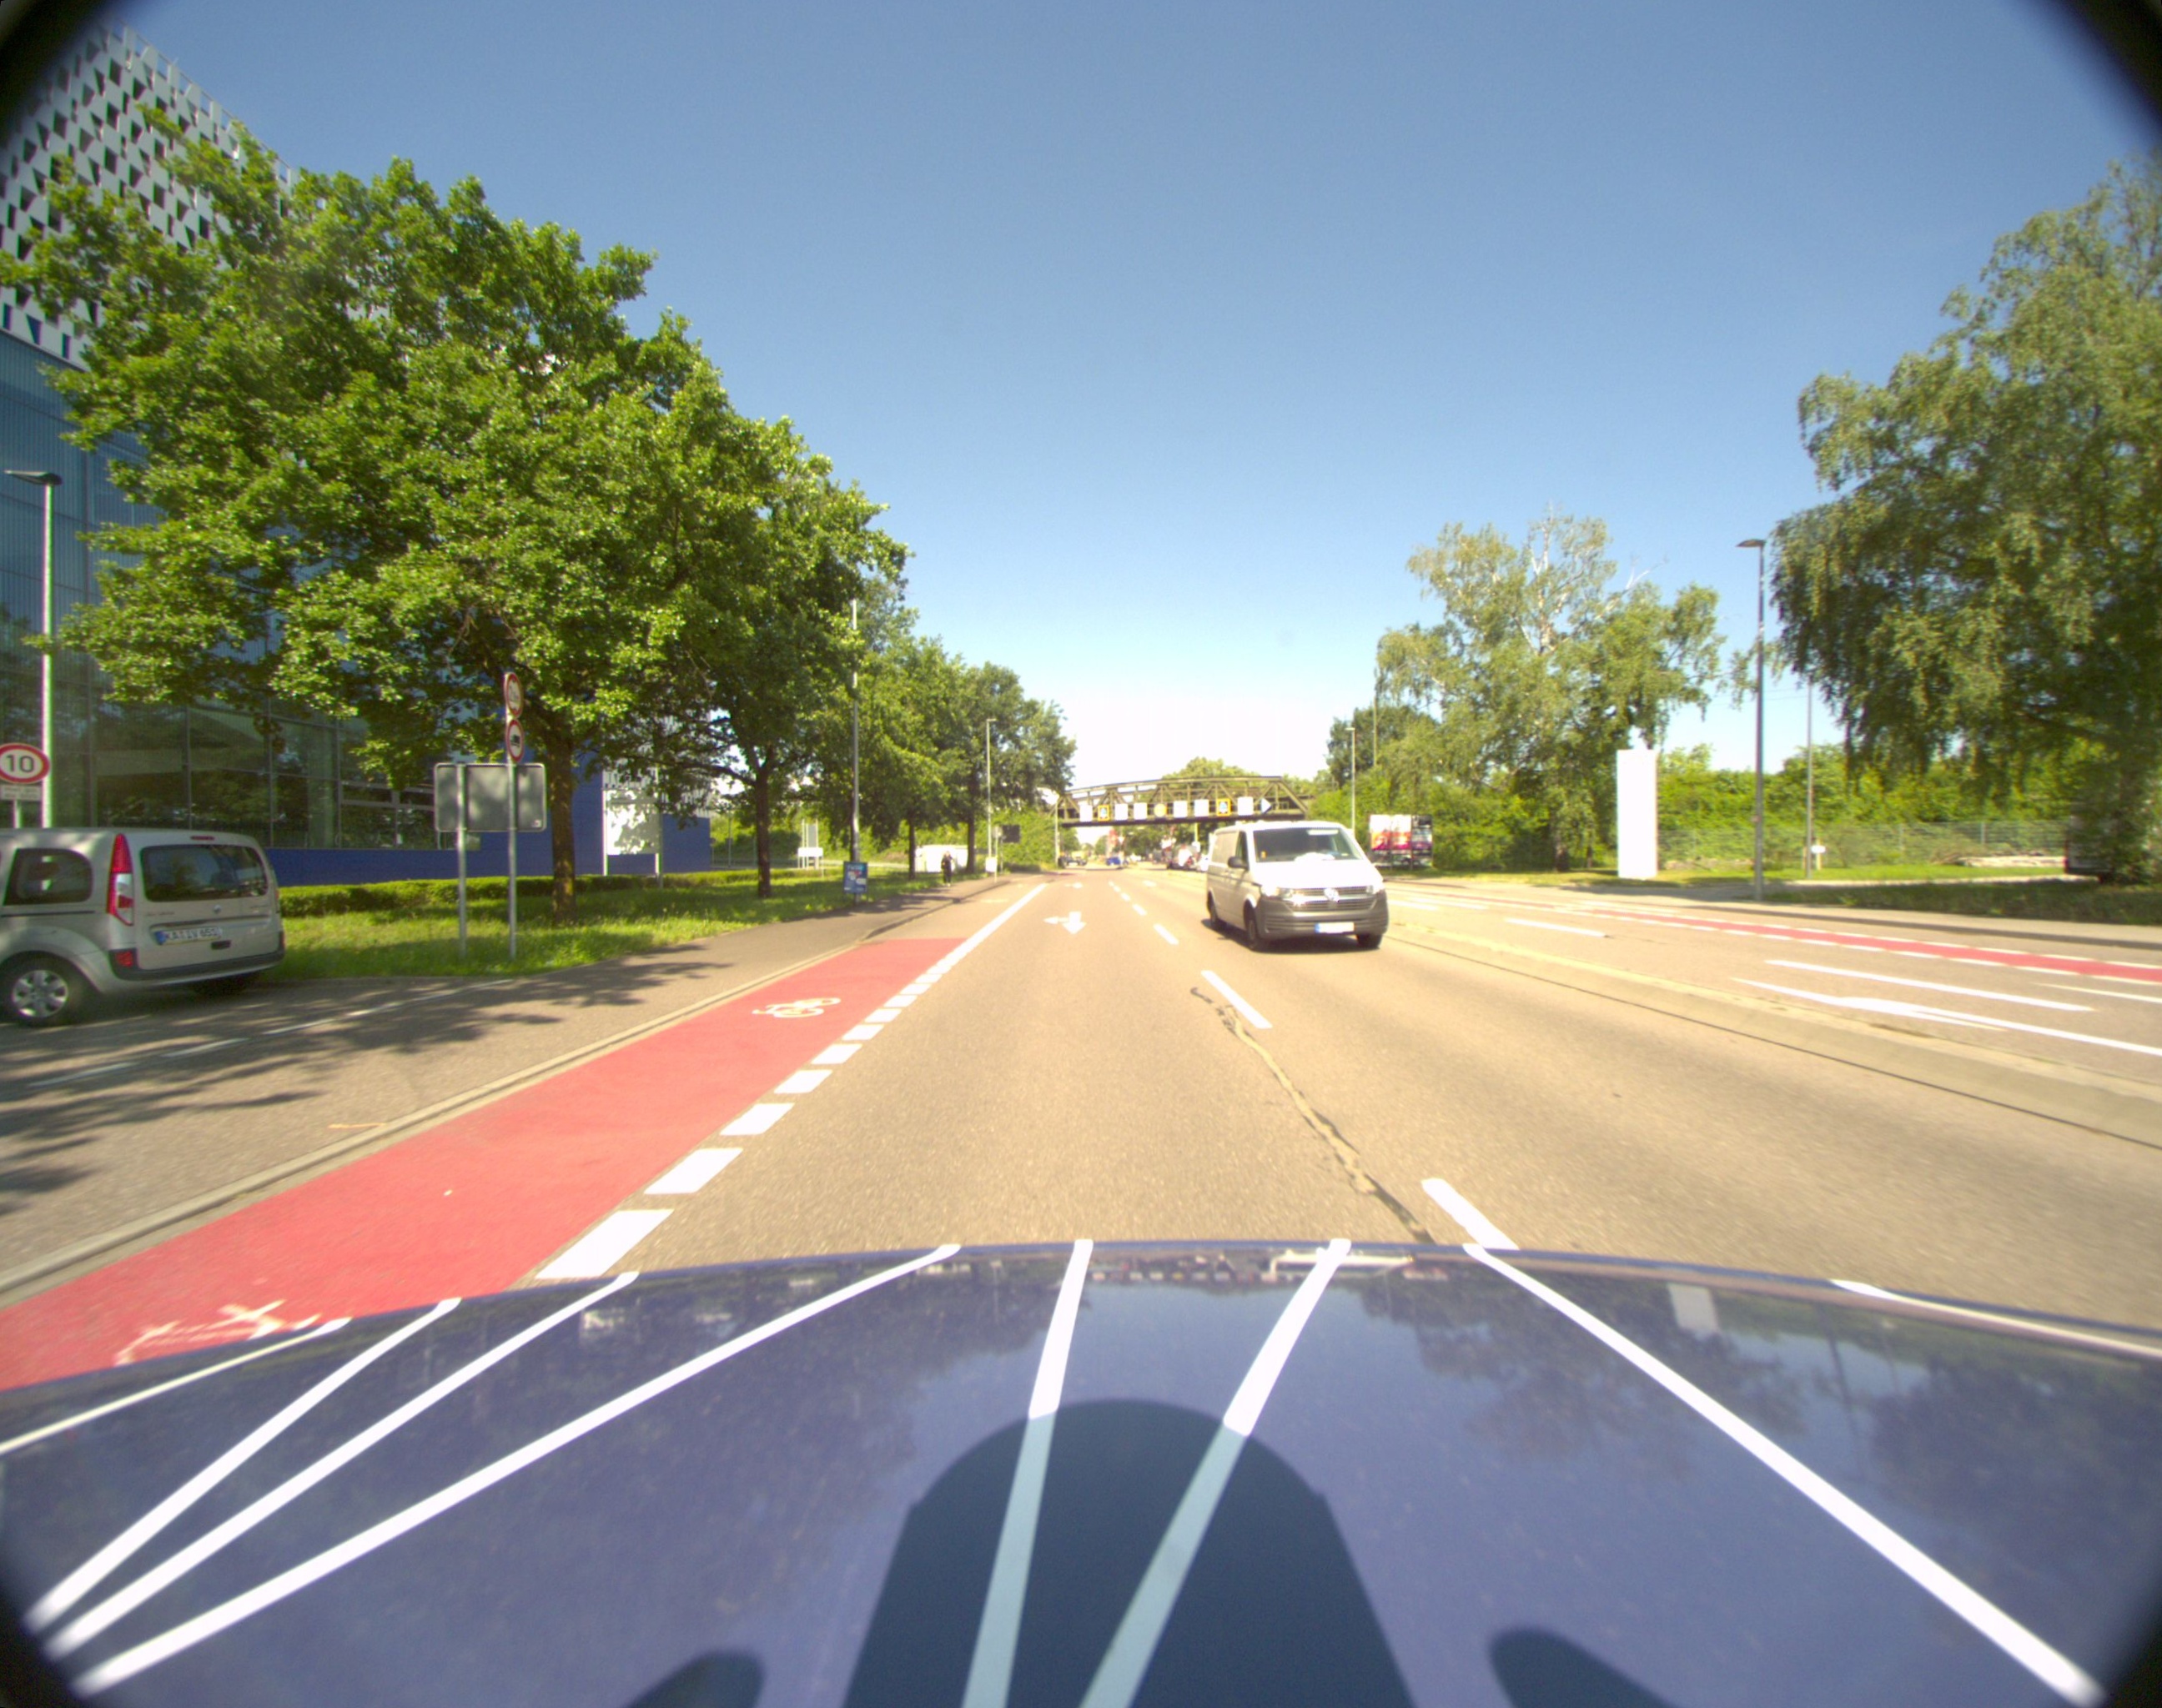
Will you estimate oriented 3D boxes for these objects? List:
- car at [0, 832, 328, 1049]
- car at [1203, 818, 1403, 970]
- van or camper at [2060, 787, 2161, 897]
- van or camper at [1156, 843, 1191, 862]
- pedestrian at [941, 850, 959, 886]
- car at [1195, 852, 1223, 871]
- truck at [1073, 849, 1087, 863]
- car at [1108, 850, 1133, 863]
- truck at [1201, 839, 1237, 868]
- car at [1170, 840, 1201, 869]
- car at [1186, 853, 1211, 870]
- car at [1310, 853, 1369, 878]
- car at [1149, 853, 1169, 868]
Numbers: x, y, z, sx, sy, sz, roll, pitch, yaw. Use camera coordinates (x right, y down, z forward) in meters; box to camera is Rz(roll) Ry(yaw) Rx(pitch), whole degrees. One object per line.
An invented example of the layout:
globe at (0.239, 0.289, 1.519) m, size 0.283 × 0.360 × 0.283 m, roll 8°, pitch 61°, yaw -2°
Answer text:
car at (-10.261, 0.731, 7.113) m, size 4.180 × 1.818 × 1.910 m, roll -1°, pitch 1°, yaw -10°
car at (3.311, 0.531, 12.444) m, size 1.886 × 1.982 × 4.974 m, roll 0°, pitch 0°, yaw 1°
van or camper at (26.809, -0.380, 17.727) m, size 5.393 × 2.456 × 2.000 m, roll -3°, pitch -1°, yaw -2°
van or camper at (16.626, -0.294, 136.770) m, size 5.779 × 3.136 × 2.599 m, roll -3°, pitch -1°, yaw -4°
pedestrian at (-5.956, 0.635, 34.488) m, size 0.648 × 1.594 × 0.846 m, roll 0°, pitch 1°, yaw 1°
car at (10.554, 0.616, 62.751) m, size 1.647 × 1.485 × 3.829 m, roll 1°, pitch -1°, yaw 0°
truck at (-0.198, 0.522, 168.454) m, size 2.410 × 2.845 × 5.803 m, roll -3°, pitch -1°, yaw -5°
car at (6.495, 0.424, 126.105) m, size 3.996 × 2.001 × 2.212 m, roll -3°, pitch -1°, yaw 2°
truck at (15.212, -0.086, 83.979) m, size 2.347 × 3.070 × 7.068 m, roll -1°, pitch 0°, yaw -3°
car at (10.724, 0.090, 78.482) m, size 1.999 × 2.788 × 6.937 m, roll 2°, pitch 0°, yaw -1°
car at (10.943, 0.713, 71.080) m, size 1.773 × 1.485 × 4.178 m, roll 1°, pitch -1°, yaw 1°
car at (15.562, 0.664, 45.977) m, size 1.998 × 1.405 × 4.681 m, roll 0°, pitch 0°, yaw 1°
car at (9.259, 0.773, 90.617) m, size 1.998 × 1.671 × 4.950 m, roll 0°, pitch 0°, yaw 1°
